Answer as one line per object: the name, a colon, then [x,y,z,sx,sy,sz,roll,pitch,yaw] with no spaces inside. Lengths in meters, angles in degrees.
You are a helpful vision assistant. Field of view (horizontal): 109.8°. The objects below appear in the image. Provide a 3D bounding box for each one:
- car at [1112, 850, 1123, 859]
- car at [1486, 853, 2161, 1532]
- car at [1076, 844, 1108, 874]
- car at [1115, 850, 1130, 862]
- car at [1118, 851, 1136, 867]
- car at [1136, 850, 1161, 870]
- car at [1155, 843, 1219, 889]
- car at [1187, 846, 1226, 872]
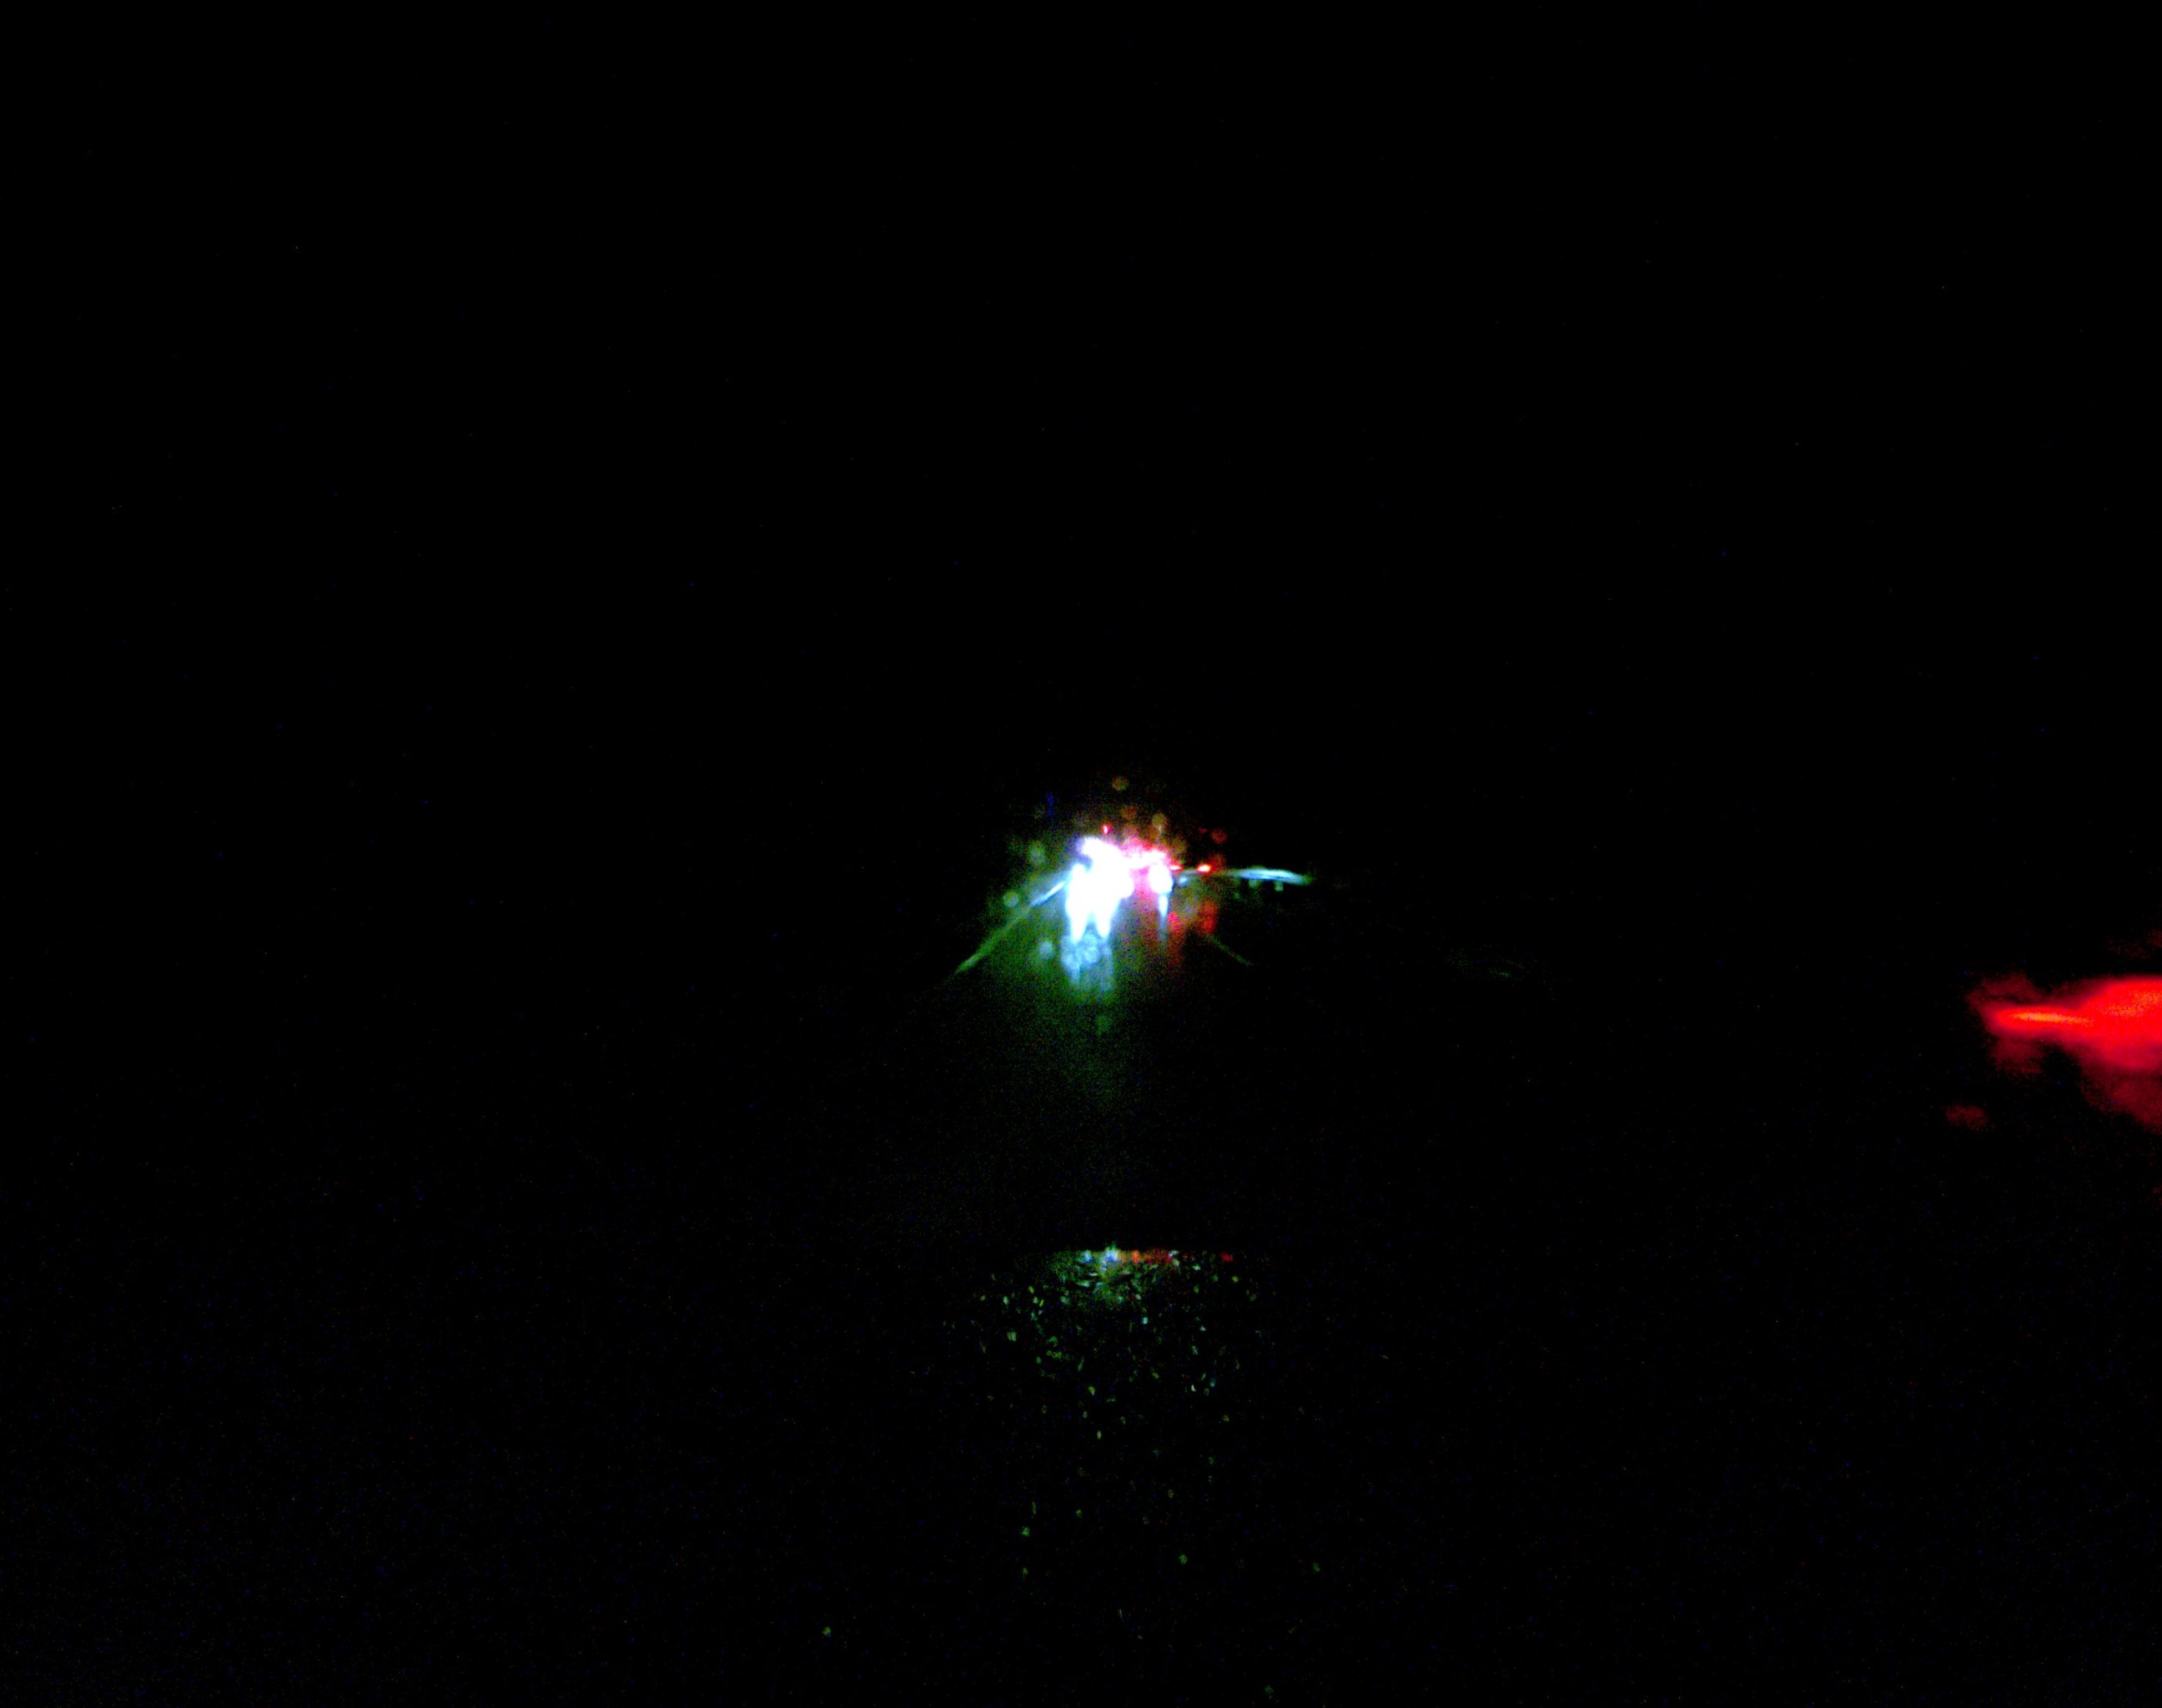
car: [6.179,0.012,129.260,1.790,1.380,3.775,-3,1,1]
car: [3.431,0.813,2.830,1.720,1.545,3.999,-2,1,1]
car: [0.770,0.302,51.193,1.998,1.805,4.000,-3,1,1]
car: [5.354,0.219,97.864,1.790,1.459,3.776,-2,1,1]
car: [5.151,0.520,85.435,1.790,1.623,4.425,-2,1,1]
car: [6.421,0.541,72.710,1.951,1.629,4.820,-3,1,1]
car: [4.065,0.404,29.790,1.835,1.546,4.440,-3,1,1]
car: [8.141,0.277,49.526,1.835,1.545,4.441,-2,1,1]
